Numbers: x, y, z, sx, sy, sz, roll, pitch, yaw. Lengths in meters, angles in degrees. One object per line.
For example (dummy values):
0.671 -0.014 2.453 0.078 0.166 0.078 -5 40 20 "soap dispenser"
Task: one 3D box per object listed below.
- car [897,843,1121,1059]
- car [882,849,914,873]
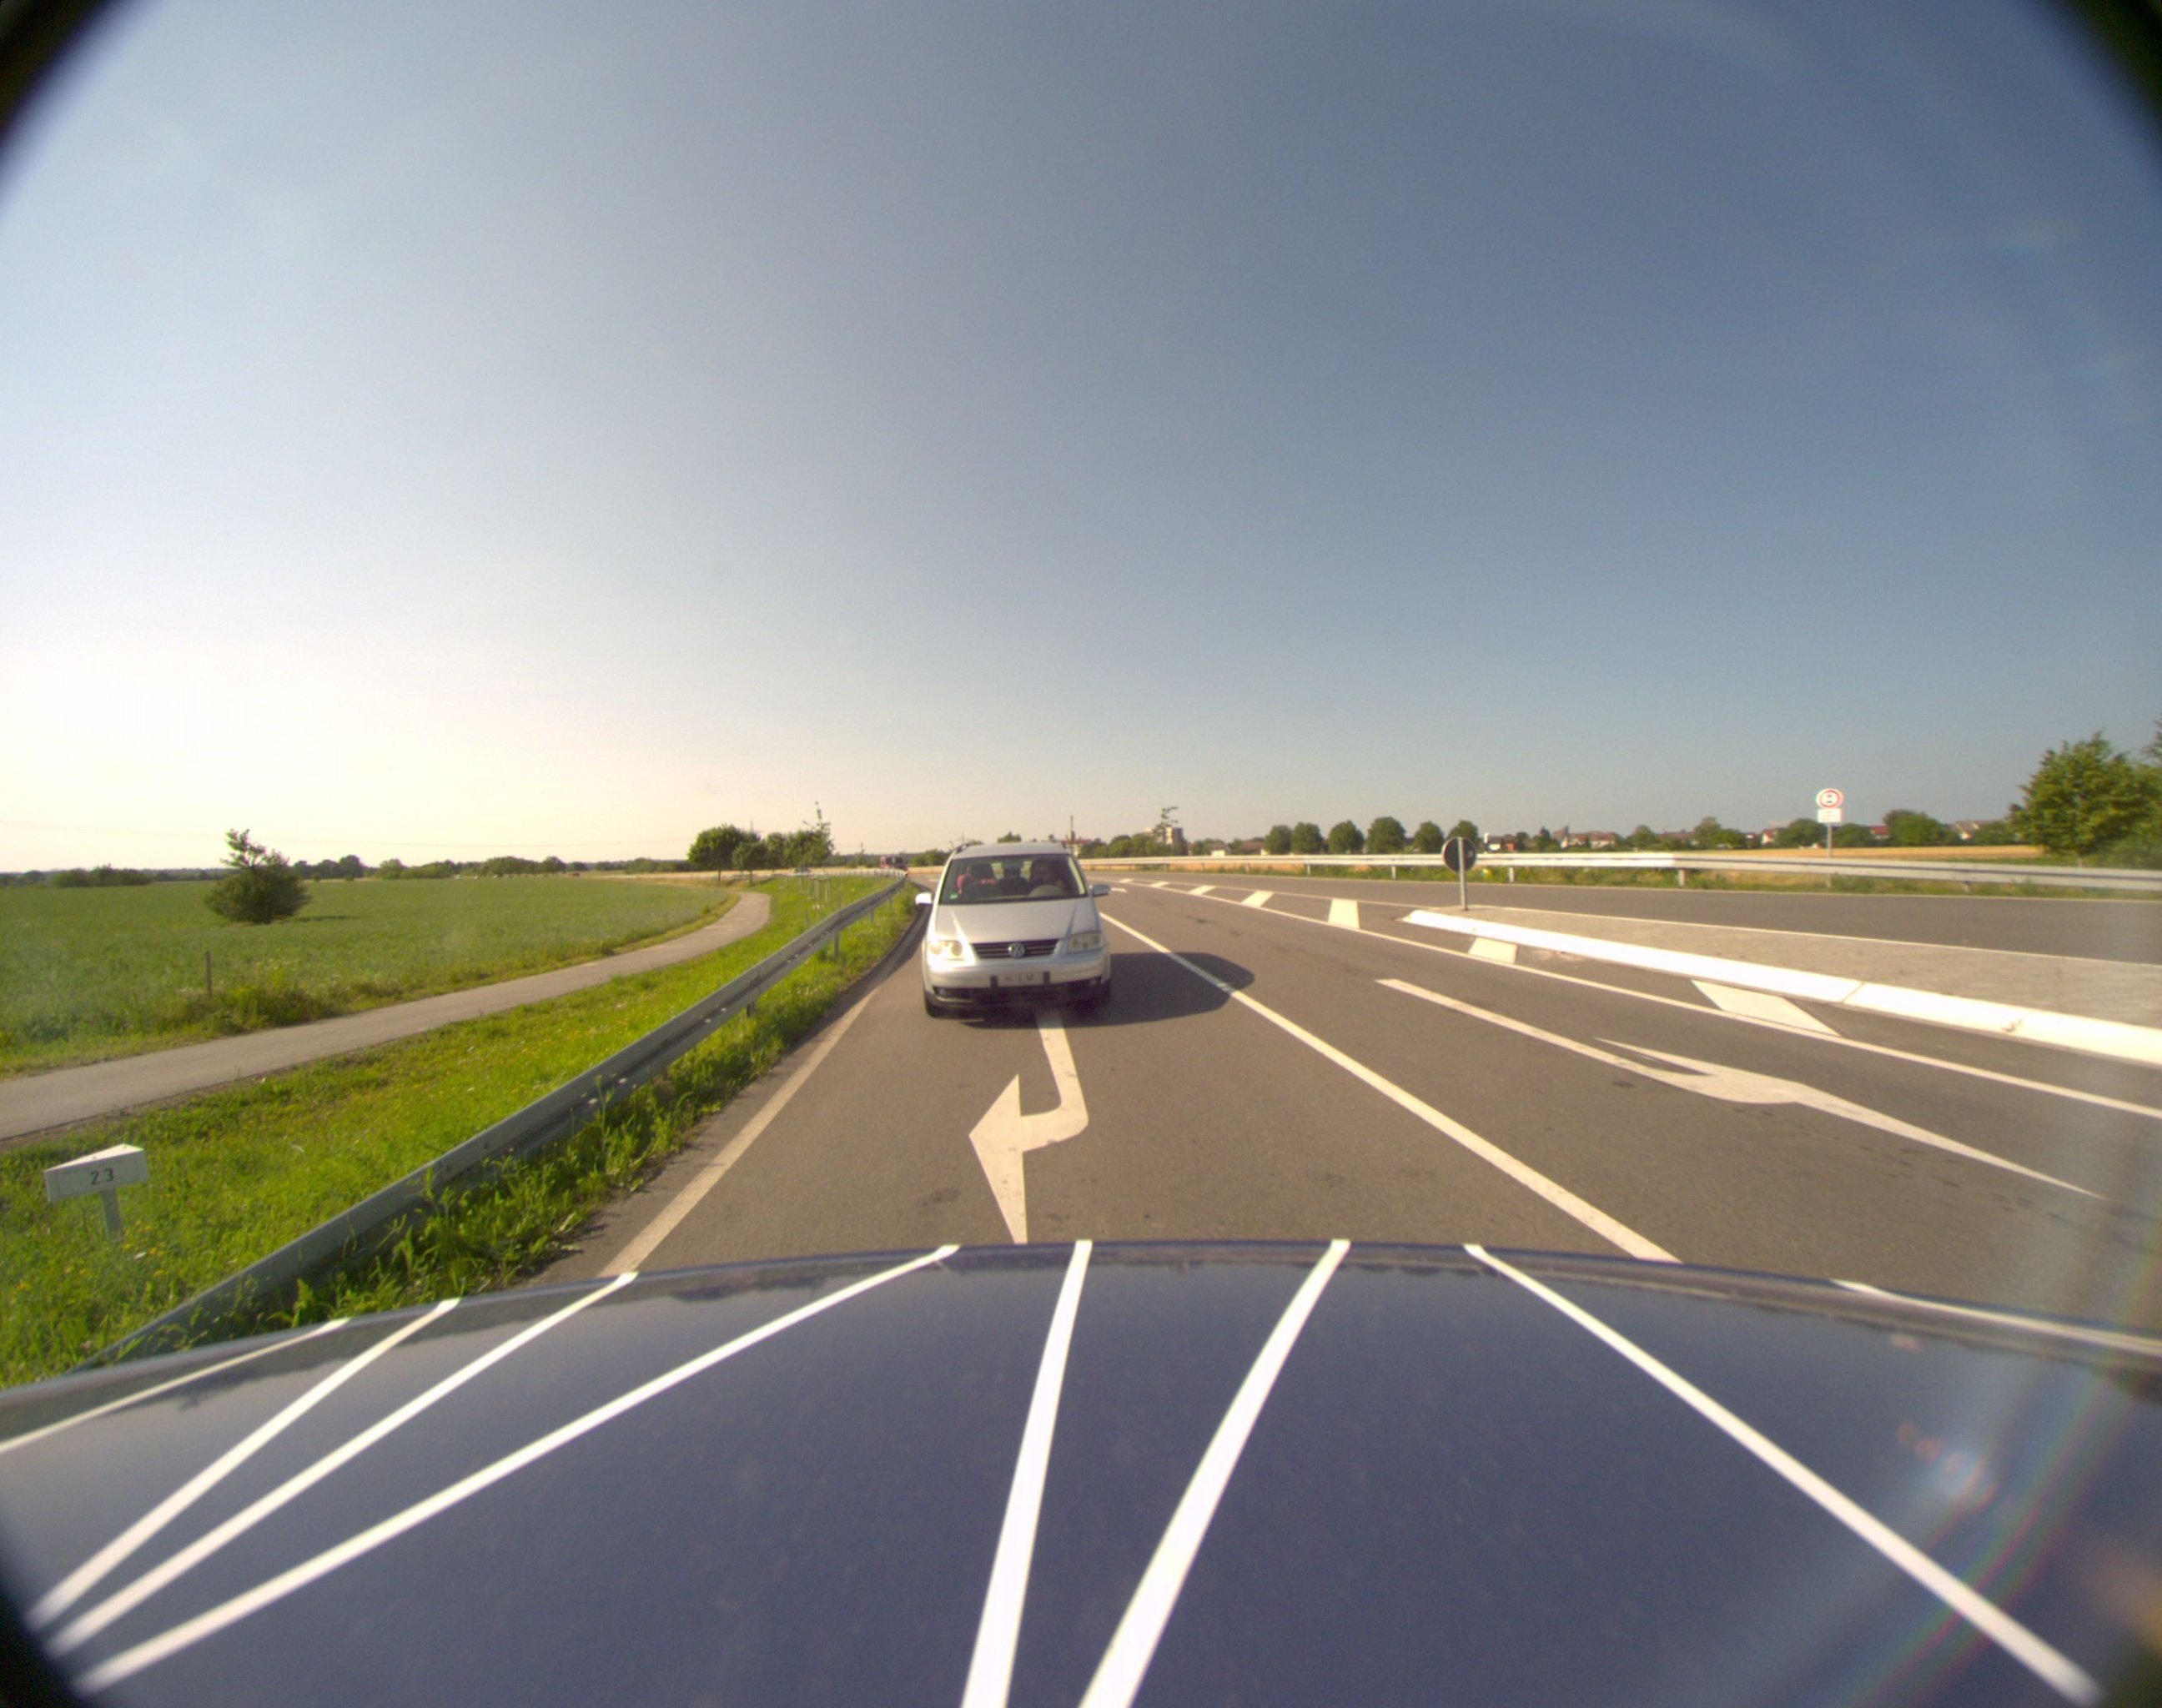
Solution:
-0.720 0.770 8.391 1.756 1.685 4.212 -3 1 -4 "car"
-14.841 0.587 61.465 1.696 1.826 4.689 -2 0 -24 "car"
